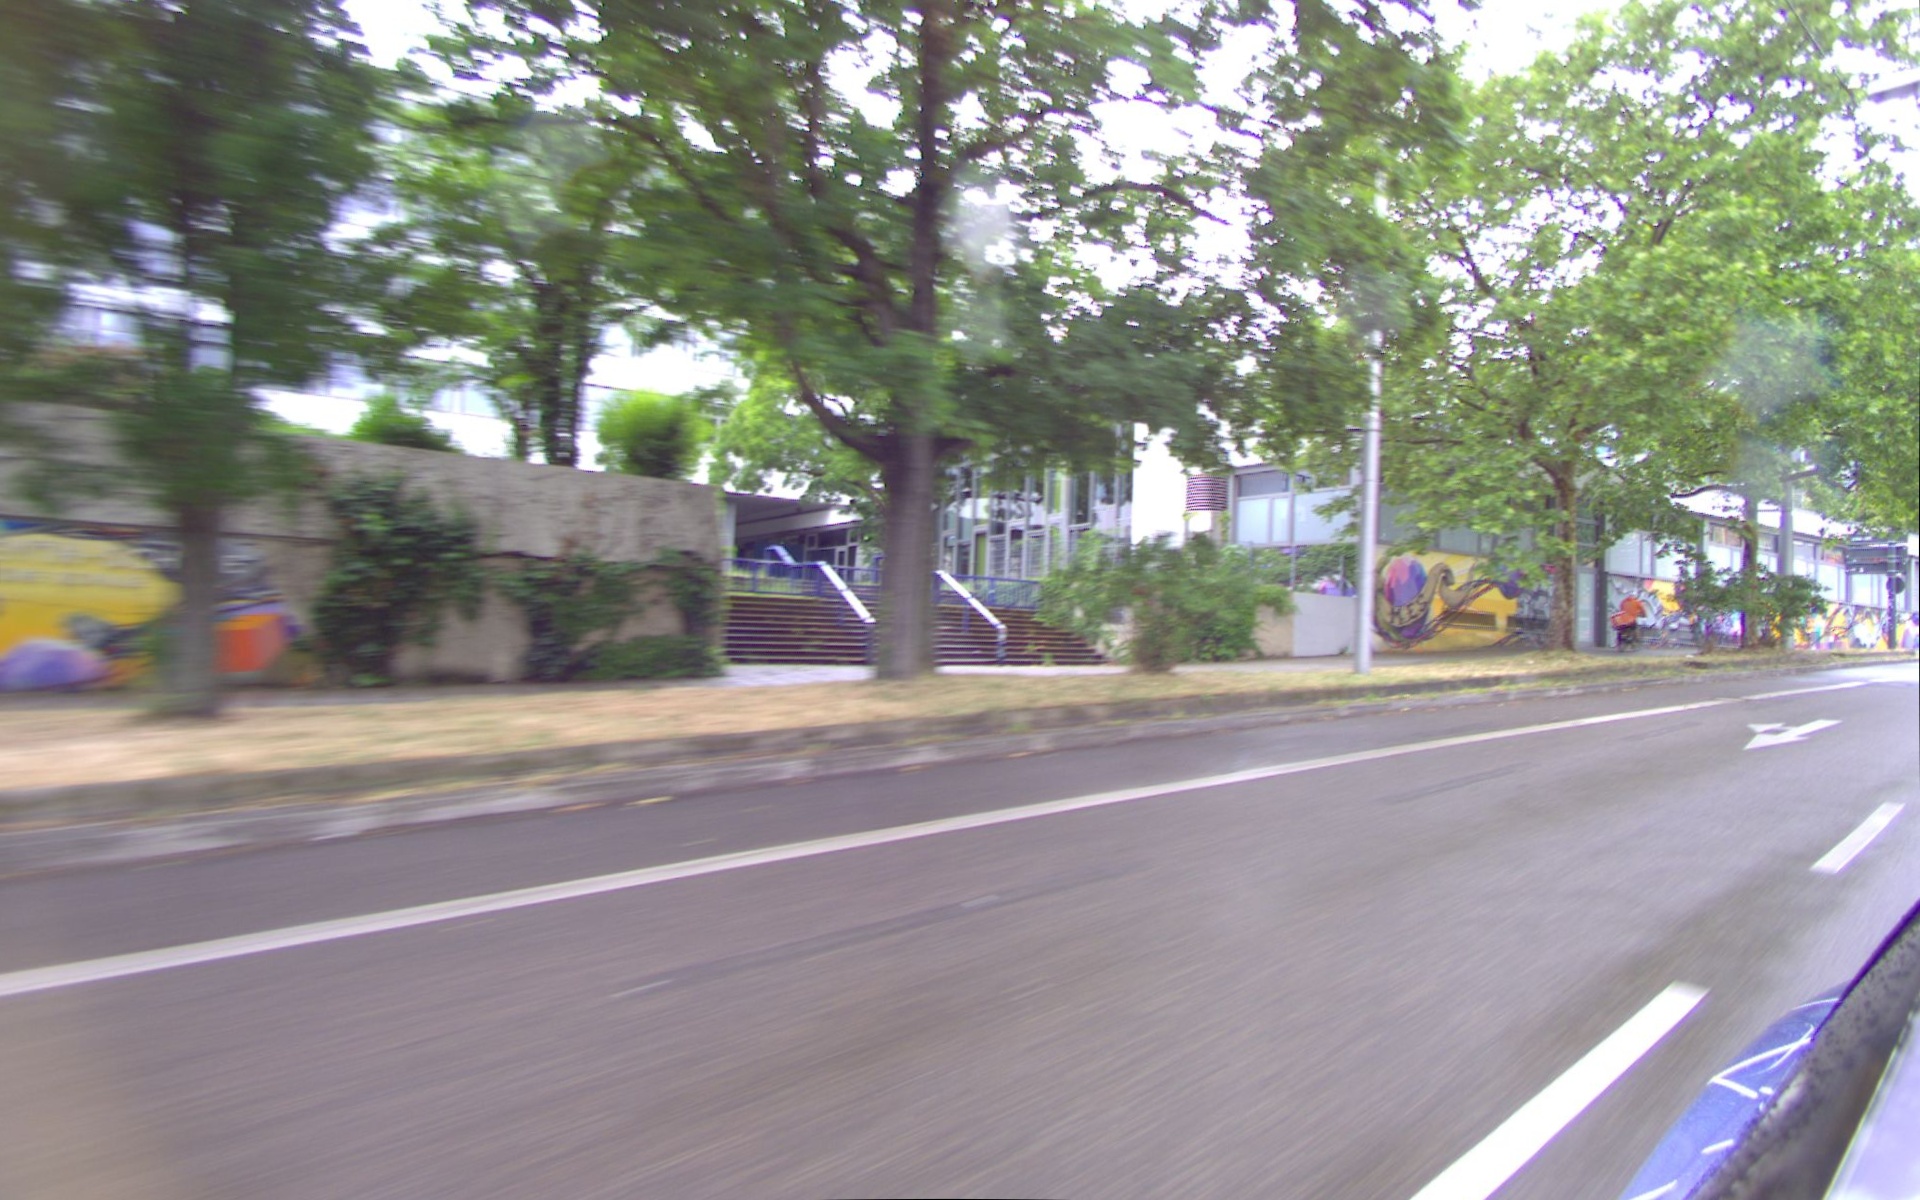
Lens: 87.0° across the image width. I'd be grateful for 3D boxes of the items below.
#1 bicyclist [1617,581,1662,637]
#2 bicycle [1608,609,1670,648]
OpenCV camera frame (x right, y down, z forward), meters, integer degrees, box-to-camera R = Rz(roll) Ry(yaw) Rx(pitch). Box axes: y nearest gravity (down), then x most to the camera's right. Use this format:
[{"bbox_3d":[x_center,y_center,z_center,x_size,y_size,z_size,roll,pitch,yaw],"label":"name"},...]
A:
[{"bbox_3d":[20.607,0.267,30.704,1.026,1.648,0.809,1,-1,-33],"label":"bicyclist"},{"bbox_3d":[20.598,0.857,30.694,2.155,1.126,0.809,1,0,-34],"label":"bicycle"}]
